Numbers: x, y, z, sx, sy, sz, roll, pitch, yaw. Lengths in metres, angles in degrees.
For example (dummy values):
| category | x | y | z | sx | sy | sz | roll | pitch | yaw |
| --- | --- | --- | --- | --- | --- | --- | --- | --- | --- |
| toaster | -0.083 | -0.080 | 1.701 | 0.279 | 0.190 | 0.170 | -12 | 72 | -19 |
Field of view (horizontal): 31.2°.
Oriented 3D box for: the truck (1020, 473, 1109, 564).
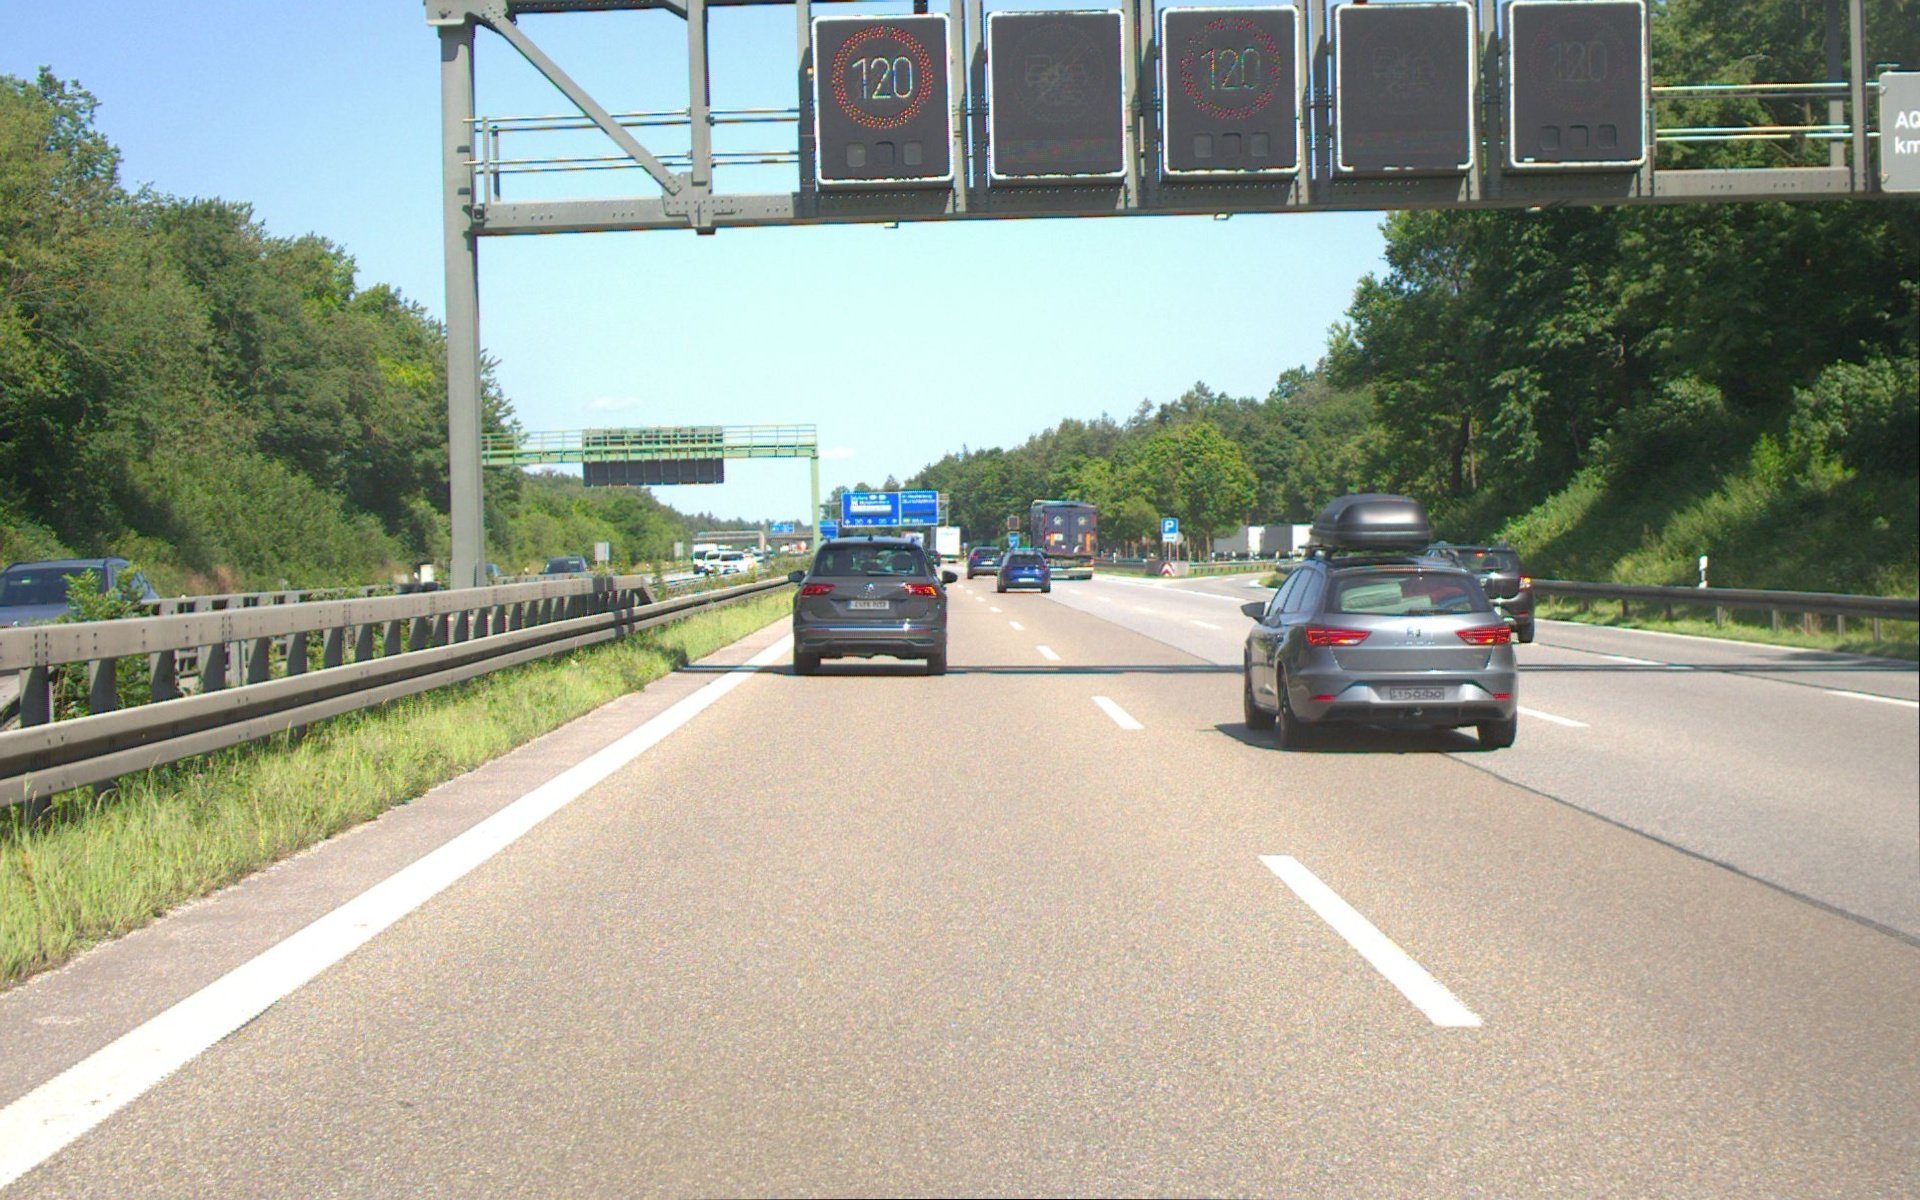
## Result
| category | x | y | z | sx | sy | sz | roll | pitch | yaw |
| --- | --- | --- | --- | --- | --- | --- | --- | --- | --- |
| truck | 5.215 | -4.079 | 174.526 | 3.780 | 4.407 | 14.052 | 0 | 1 | -1 |

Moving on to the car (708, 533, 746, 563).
| category | x | y | z | sx | sy | sz | roll | pitch | yaw |
| --- | --- | --- | --- | --- | --- | --- | --- | --- | --- |
| car | -13.192 | -2.971 | 195.070 | 1.812 | 1.611 | 3.914 | -3 | 1 | 0 |

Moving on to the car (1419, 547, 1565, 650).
| category | x | y | z | sx | sy | sz | roll | pitch | yaw |
| --- | --- | --- | --- | --- | --- | --- | --- | --- | --- |
| car | 8.526 | -0.055 | 55.425 | 1.765 | 1.563 | 4.258 | 1 | 1 | 1 |

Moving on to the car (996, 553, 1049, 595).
| category | x | y | z | sx | sy | sz | roll | pitch | yaw |
| --- | --- | --- | --- | --- | --- | --- | --- | --- | --- |
| car | 2.172 | -0.906 | 118.625 | 1.765 | 1.377 | 4.258 | 1 | 1 | 1 |

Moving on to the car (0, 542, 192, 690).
| category | x | y | z | sx | sy | sz | roll | pitch | yaw |
| --- | --- | --- | --- | --- | --- | --- | --- | --- | --- |
| car | -10.405 | 0.146 | 40.457 | 1.761 | 1.612 | 4.231 | -2 | 1 | 0 |

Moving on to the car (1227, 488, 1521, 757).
| category | x | y | z | sx | sy | sz | roll | pitch | yaw |
| --- | --- | --- | --- | --- | --- | --- | --- | --- | --- |
| car | 3.135 | 0.109 | 26.872 | 1.665 | 1.870 | 4.827 | -2 | 1 | 0 |

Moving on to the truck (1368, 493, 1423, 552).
| category | x | y | z | sx | sy | sz | roll | pitch | yaw |
| --- | --- | --- | --- | --- | --- | --- | --- | --- | --- |
| truck | 29.894 | -5.300 | 235.694 | 3.287 | 3.933 | 9.347 | -1 | 1 | 10 |

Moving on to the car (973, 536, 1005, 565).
| category | x | y | z | sx | sy | sz | roll | pitch | yaw |
| --- | --- | --- | --- | --- | --- | --- | --- | --- | --- |
| car | 1.444 | -2.486 | 173.448 | 1.471 | 1.393 | 3.410 | 2 | 1 | -1 |

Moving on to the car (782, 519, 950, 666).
| category | x | y | z | sx | sy | sz | roll | pitch | yaw |
| --- | --- | --- | --- | --- | --- | --- | --- | --- | --- |
| car | -1.079 | -0.124 | 41.493 | 1.799 | 1.663 | 4.258 | 1 | 1 | 1 |
